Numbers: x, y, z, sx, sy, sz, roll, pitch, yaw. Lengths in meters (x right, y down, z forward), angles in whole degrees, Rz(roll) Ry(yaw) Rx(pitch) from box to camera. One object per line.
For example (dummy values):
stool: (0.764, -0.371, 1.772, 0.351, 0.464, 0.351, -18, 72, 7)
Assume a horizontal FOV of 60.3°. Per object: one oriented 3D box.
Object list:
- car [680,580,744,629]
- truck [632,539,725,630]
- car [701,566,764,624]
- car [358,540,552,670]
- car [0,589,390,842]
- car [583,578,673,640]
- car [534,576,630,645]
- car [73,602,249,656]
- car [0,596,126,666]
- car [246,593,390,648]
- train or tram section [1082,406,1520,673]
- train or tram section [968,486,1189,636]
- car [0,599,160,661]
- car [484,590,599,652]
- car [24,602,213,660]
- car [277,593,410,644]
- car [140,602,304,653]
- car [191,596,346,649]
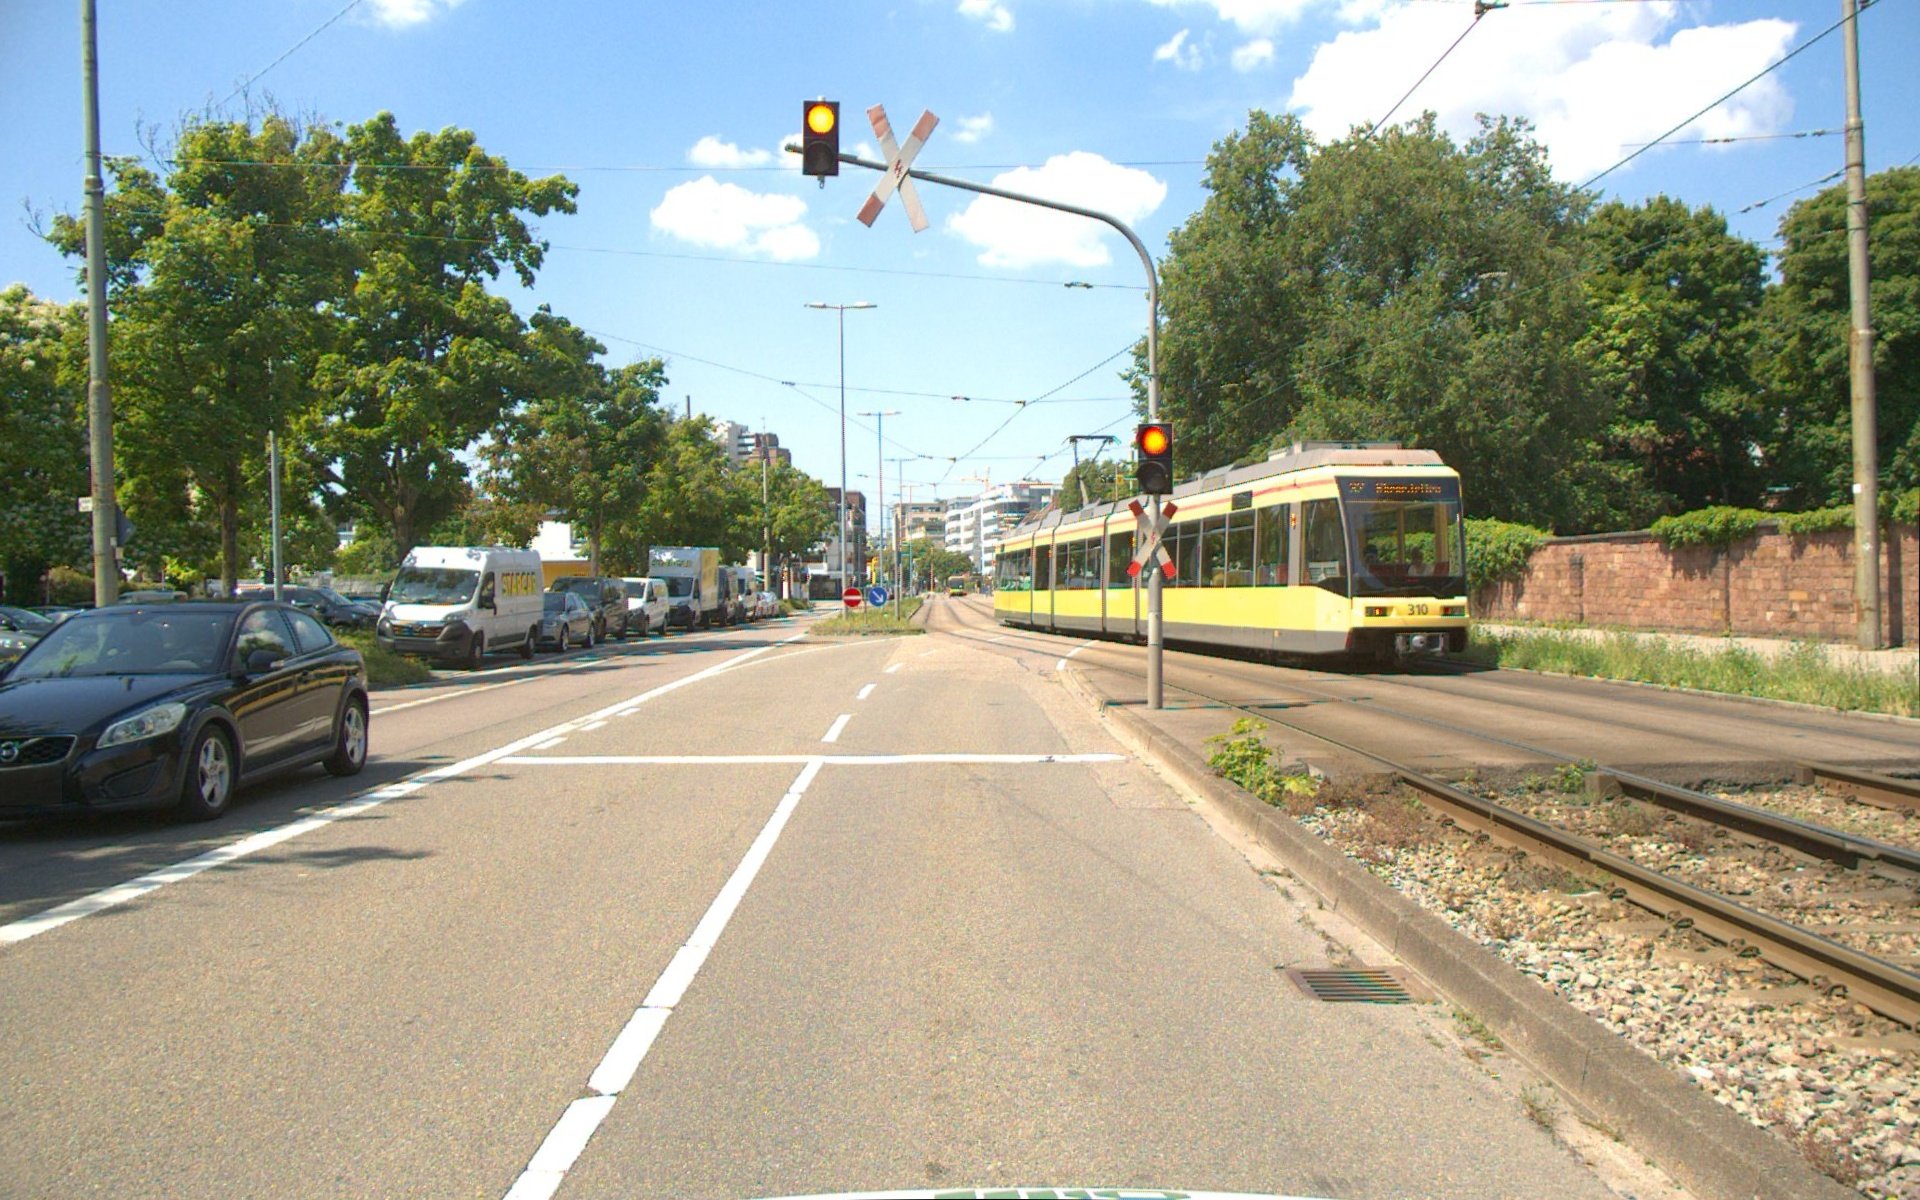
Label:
car: (-10.742, 0.174, 71.828, 2.019, 2.011, 4.871, -1, 1, 0)
truck: (-10.846, -0.601, 64.376, 2.112, 3.266, 7.084, 2, 1, 1)
car: (-10.886, -0.253, 79.484, 2.112, 2.685, 5.613, 0, 1, 1)
car: (-10.875, 0.066, 36.189, 2.112, 2.530, 6.194, 2, 1, 1)
car: (-5.559, 0.686, 11.745, 1.644, 1.422, 4.005, -3, 1, -1)
car: (-11.125, 0.268, 55.760, 2.019, 1.931, 4.871, -1, 1, 0)
car: (-11.184, 0.276, 49.205, 1.830, 1.928, 4.270, -1, 1, 0)
car: (-21.838, 0.776, 45.314, 3.907, 1.362, 1.804, -1, 1, -2)
car: (-21.006, 0.683, 36.809, 3.907, 1.467, 1.804, -1, 1, -2)
car: (-20.631, 0.644, 53.271, 3.907, 1.634, 1.804, -1, 0, -2)
train or tram section: (5.534, -0.970, 32.588, 2.887, 3.756, 18.363, 0, 1, -7)
train or tram section: (3.040, -1.120, 51.675, 2.888, 3.756, 20.250, 0, 1, -7)
car: (-21.398, 0.706, 39.223, 3.907, 1.362, 1.804, -1, 1, -2)
car: (-10.731, 0.499, 42.707, 1.830, 1.462, 4.342, -1, 1, 0)
car: (-21.658, 0.792, 42.679, 3.907, 1.362, 1.804, -1, 1, -2)
car: (-21.392, 0.634, 57.527, 3.907, 1.634, 1.804, -1, 0, -2)
car: (-21.329, 0.782, 47.887, 3.907, 1.362, 1.804, -1, 1, -2)
car: (-20.993, 0.670, 50.305, 3.906, 1.467, 1.805, -1, 0, -2)
